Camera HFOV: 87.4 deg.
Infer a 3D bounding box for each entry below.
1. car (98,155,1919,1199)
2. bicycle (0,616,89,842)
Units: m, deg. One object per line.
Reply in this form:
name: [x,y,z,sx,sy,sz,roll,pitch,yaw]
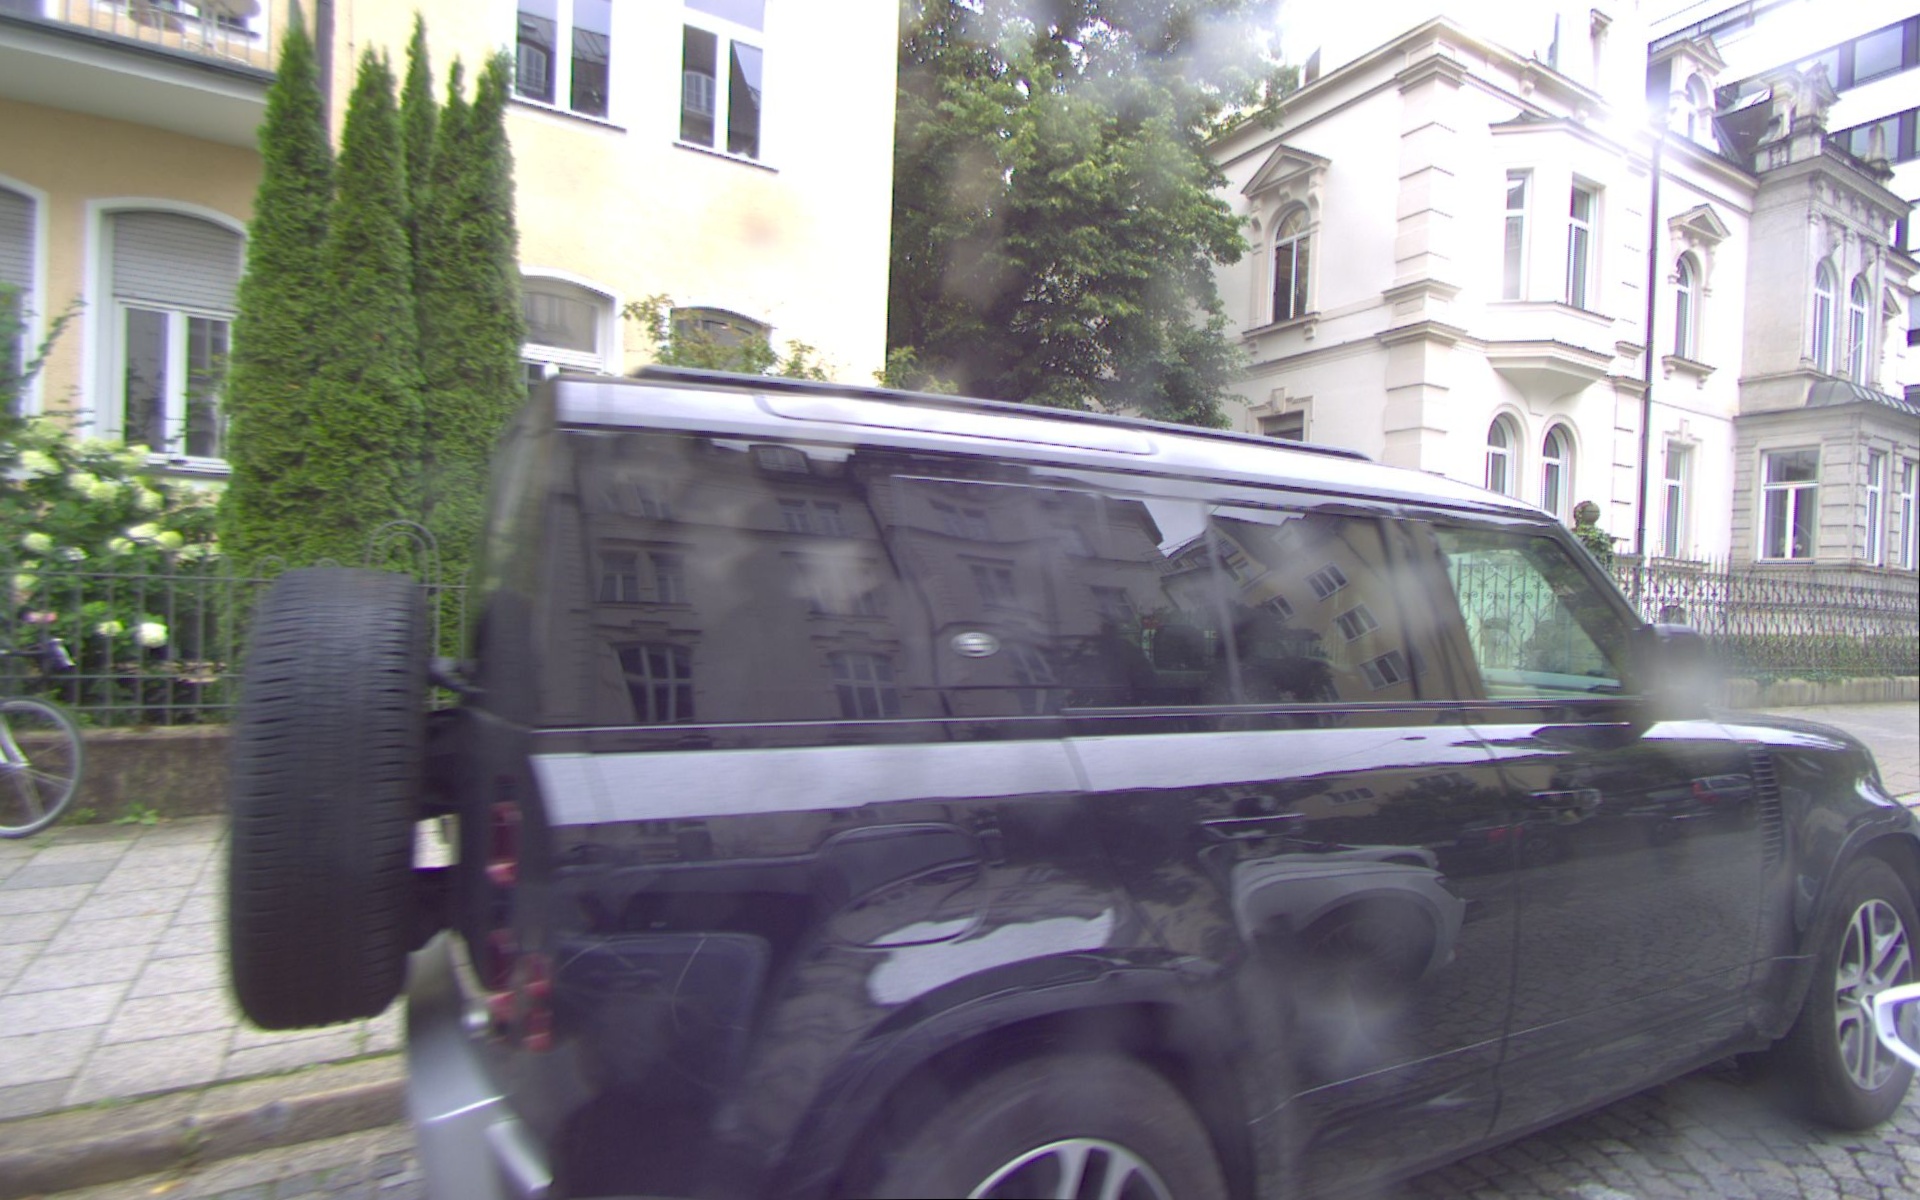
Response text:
car: [0.778,0.506,2.931,4.665,1.761,1.973,2,2,-29]
bicycle: [-4.968,0.576,4.491,1.554,1.016,0.350,2,1,-29]
